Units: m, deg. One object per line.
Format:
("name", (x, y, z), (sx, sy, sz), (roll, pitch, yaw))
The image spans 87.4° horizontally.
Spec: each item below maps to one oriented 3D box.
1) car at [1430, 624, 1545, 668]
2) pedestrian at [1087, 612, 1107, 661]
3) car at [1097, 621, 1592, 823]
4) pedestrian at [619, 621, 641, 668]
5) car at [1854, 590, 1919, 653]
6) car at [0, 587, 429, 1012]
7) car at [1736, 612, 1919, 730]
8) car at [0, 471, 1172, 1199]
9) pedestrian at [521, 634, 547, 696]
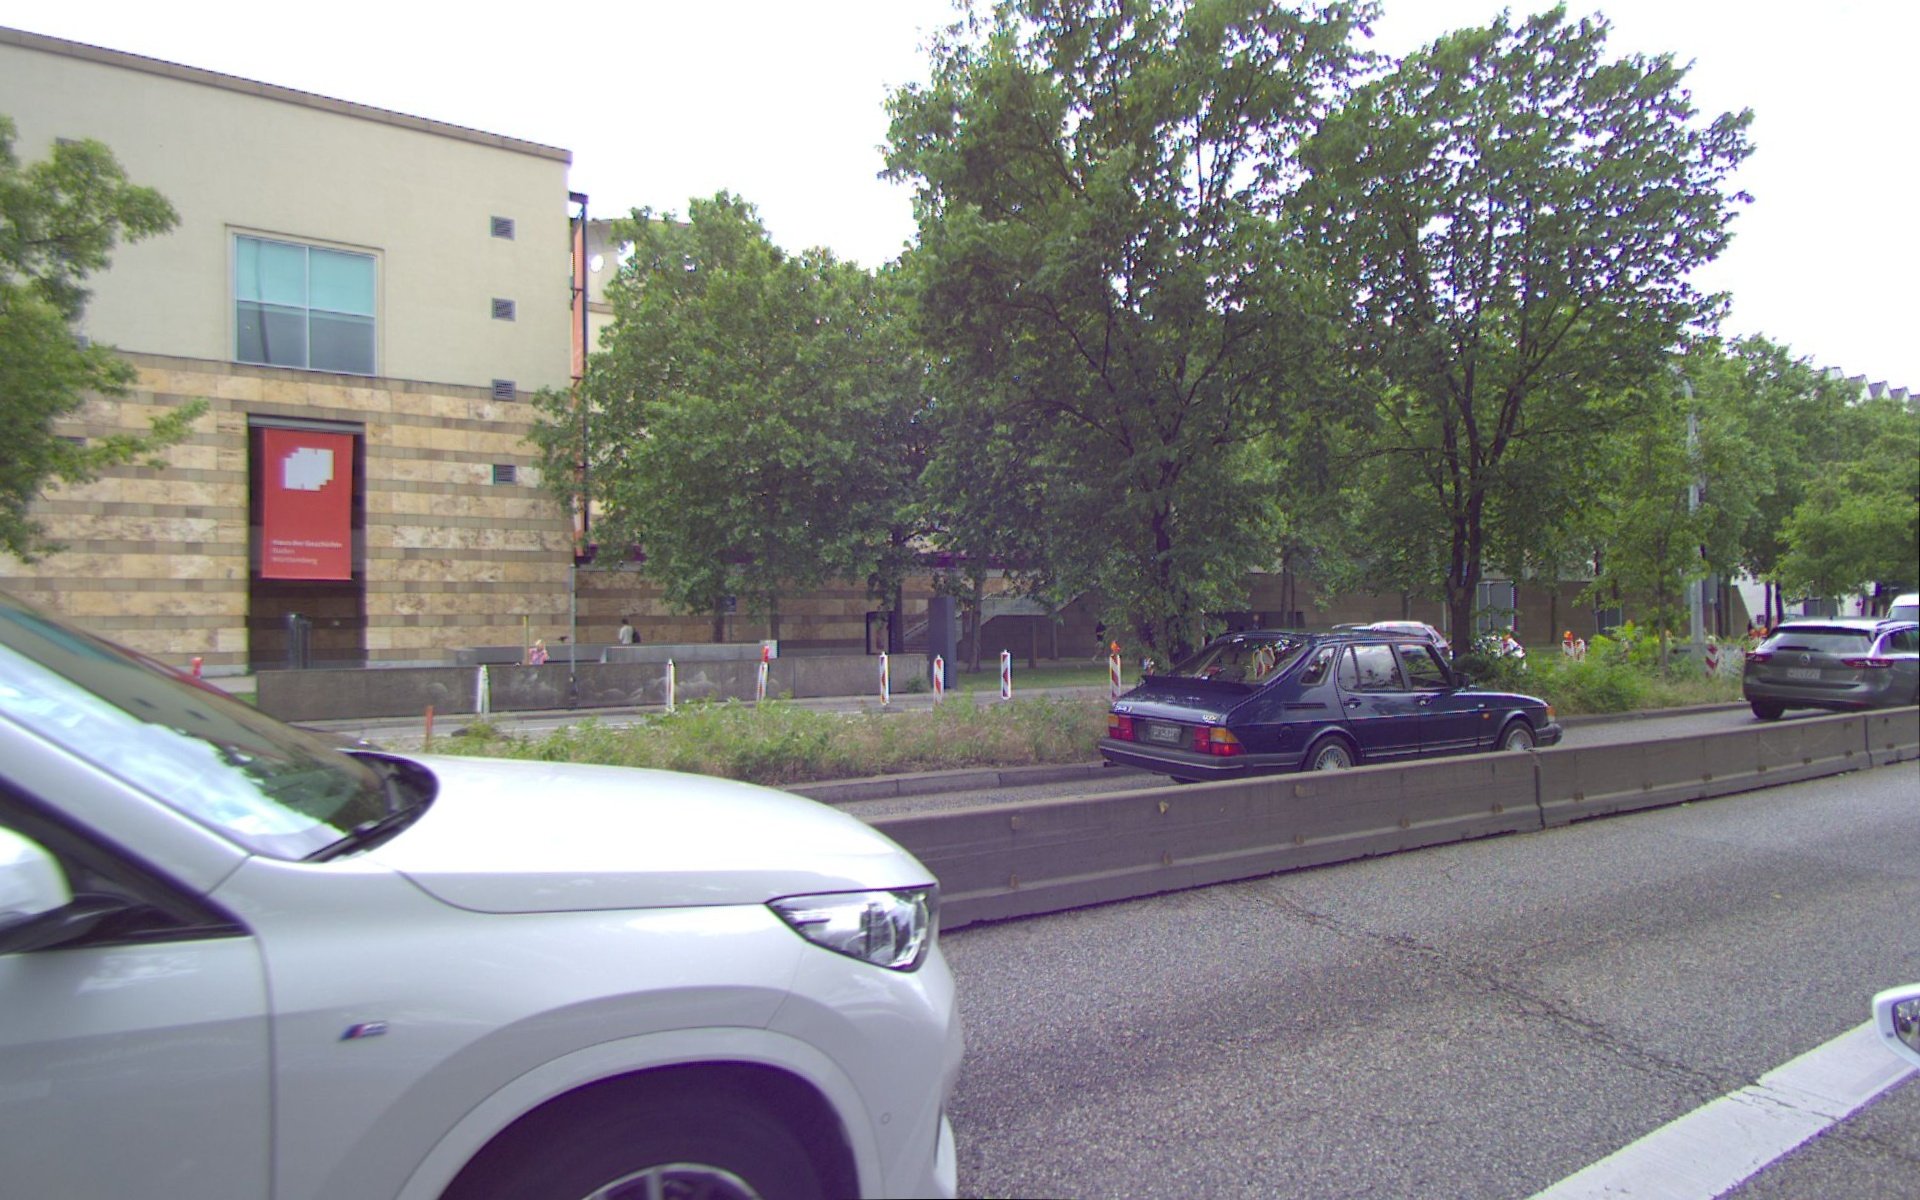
("car", (19.581, 1.669, 37.248), (4.469, 1.547, 1.638), (0, -1, -30))
("pedestrian", (5.723, 1.531, 41.975), (0.657, 2.040, 0.449), (0, -1, -30))
("car", (3.497, 0.890, 8.864), (4.490, 1.385, 1.670), (0, -1, -31))
("pedestrian", (-11.268, 1.514, 34.257), (0.616, 1.590, 0.434), (0, -1, -38))
("car", (32.309, 0.714, 33.502), (5.512, 1.995, 2.106), (0, -1, -30))
("car", (-4.746, 0.727, 3.920), (4.709, 1.519, 1.809), (0, -1, -28))
("car", (12.870, 0.926, 14.240), (3.914, 1.455, 1.653), (1, -1, -31))
("car", (-2.109, 0.676, 1.562), (4.851, 1.649, 1.842), (1, -1, -31))
("pedestrian", (-11.042, 1.676, 26.035), (0.555, 1.552, 0.523), (0, -1, -28))
